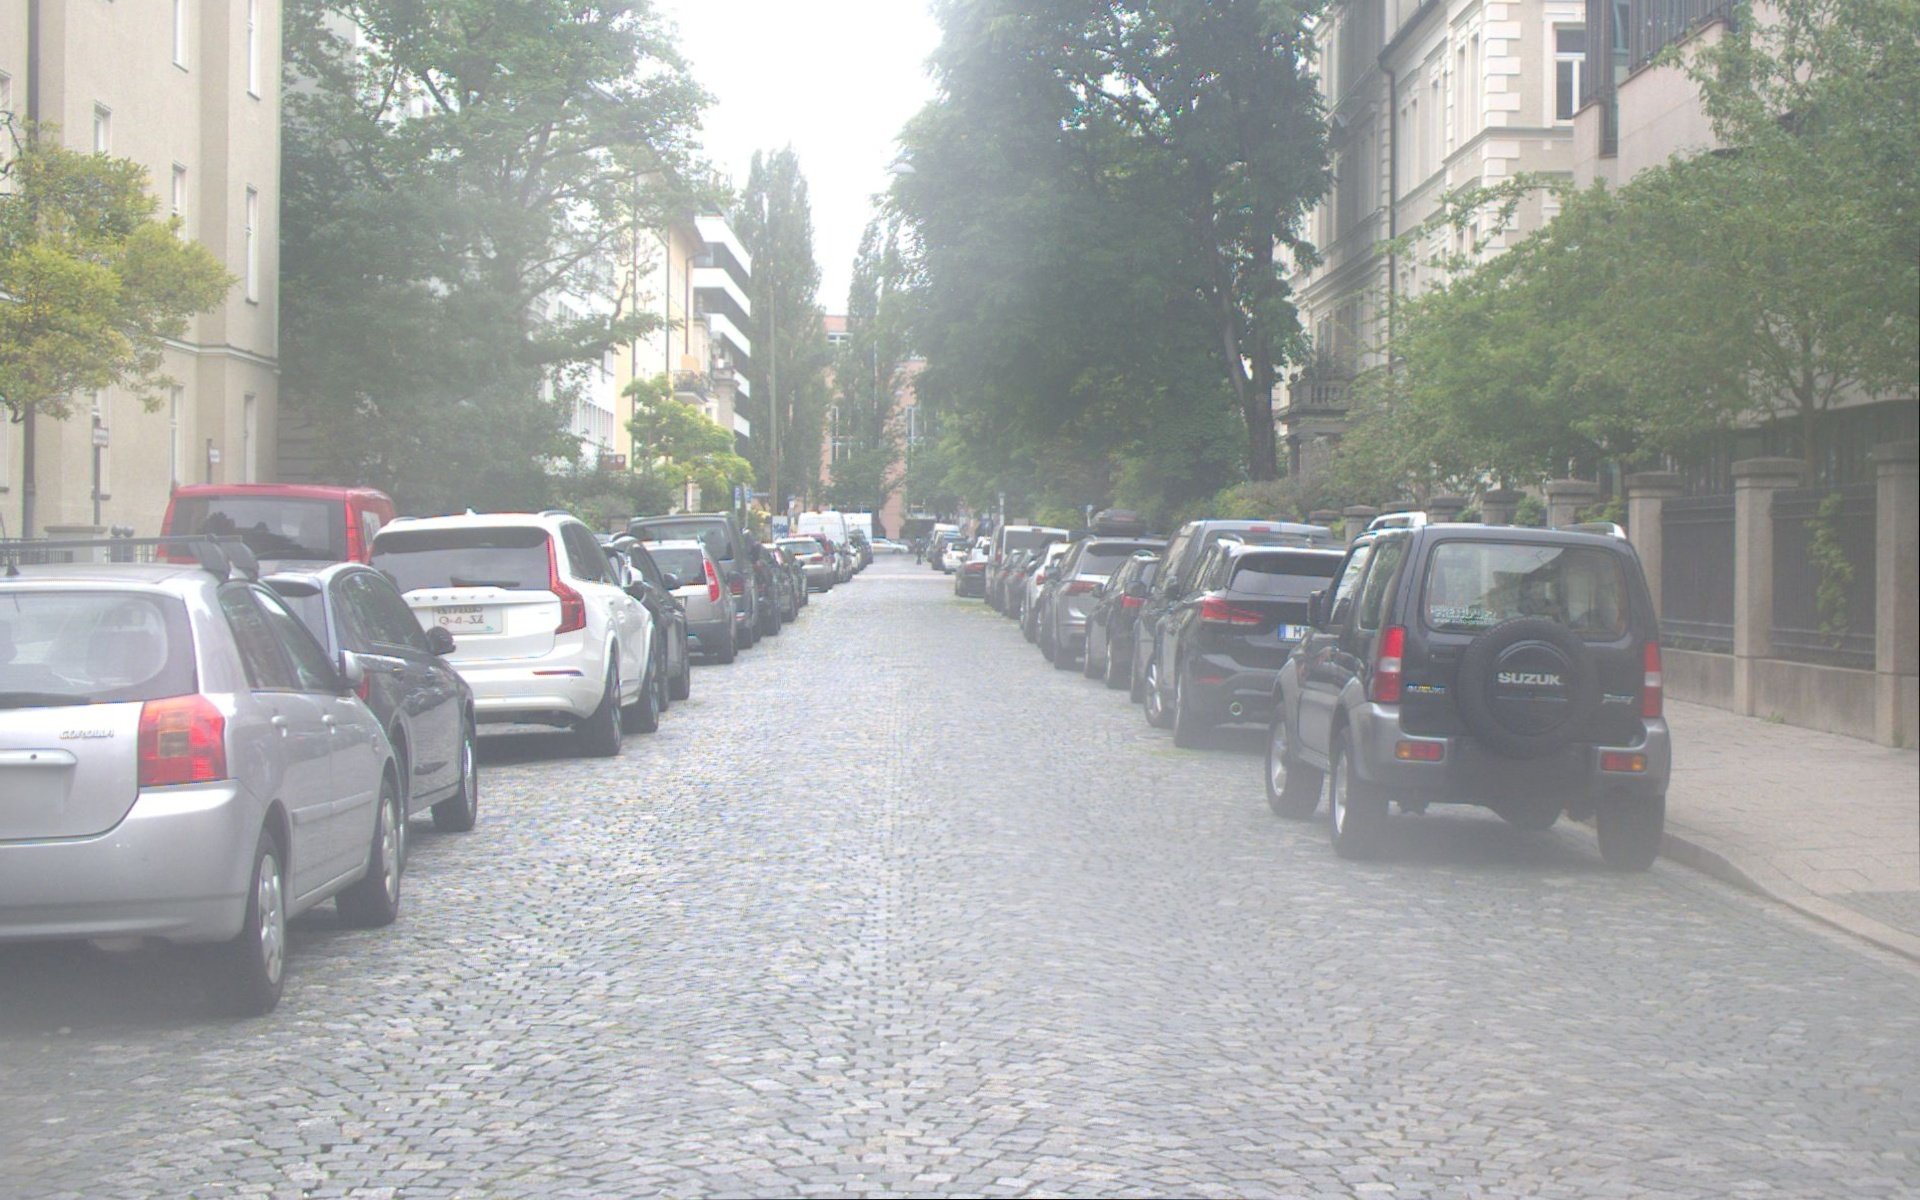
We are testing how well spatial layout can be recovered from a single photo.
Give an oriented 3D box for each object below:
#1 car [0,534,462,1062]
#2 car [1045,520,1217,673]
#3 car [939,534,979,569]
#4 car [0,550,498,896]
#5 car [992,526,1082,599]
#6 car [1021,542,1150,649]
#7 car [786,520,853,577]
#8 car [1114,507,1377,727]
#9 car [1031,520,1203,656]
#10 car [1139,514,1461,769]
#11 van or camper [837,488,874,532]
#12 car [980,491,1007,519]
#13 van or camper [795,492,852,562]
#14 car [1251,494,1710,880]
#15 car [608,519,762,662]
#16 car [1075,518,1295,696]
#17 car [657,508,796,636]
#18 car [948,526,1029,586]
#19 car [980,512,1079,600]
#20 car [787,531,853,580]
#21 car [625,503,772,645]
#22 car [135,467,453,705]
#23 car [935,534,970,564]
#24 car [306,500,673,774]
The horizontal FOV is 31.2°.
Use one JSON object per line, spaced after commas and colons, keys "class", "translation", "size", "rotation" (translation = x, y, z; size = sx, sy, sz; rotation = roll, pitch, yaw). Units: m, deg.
{"class": "car", "translation": [-2.962, 0.562, 12.464], "size": [1.713, 1.557, 4.391], "rotation": [-2, 1, -1]}
{"class": "car", "translation": [2.084, -0.086, 43.123], "size": [1.873, 1.729, 4.892], "rotation": [2, 1, 0]}
{"class": "car", "translation": [-0.064, -2.206, 155.331], "size": [1.790, 1.515, 4.000], "rotation": [0, 1, 0]}
{"class": "car", "translation": [-3.370, 0.501, 16.755], "size": [1.729, 1.414, 3.937], "rotation": [-2, 1, -1]}
{"class": "car", "translation": [1.674, -0.842, 76.018], "size": [1.837, 1.485, 4.422], "rotation": [3, 1, 0]}
{"class": "car", "translation": [1.938, -0.104, 54.132], "size": [1.873, 1.485, 4.617], "rotation": [3, 2, 1]}
{"class": "car", "translation": [-4.175, -1.544, 101.484], "size": [1.873, 1.574, 4.256], "rotation": [-2, 1, -3]}
{"class": "car", "translation": [2.584, 0.107, 32.156], "size": [1.788, 1.790, 4.510], "rotation": [4, 1, -2]}
{"class": "car", "translation": [2.174, -0.212, 48.997], "size": [1.873, 1.729, 4.748], "rotation": [4, 1, -3]}
{"class": "car", "translation": [2.529, 0.248, 26.715], "size": [1.860, 1.696, 4.813], "rotation": [3, 1, -1]}
{"class": "van or camper", "translation": [-6.637, -5.704, 218.918], "size": [2.256, 2.733, 5.098], "rotation": [1, 1, -1]}
{"class": "car", "translation": [2.499, -7.146, 258.460], "size": [1.993, 2.007, 4.000], "rotation": [1, 1, 0]}
{"class": "van or camper", "translation": [-5.331, -2.847, 134.383], "size": [1.993, 2.643, 4.000], "rotation": [-2, 1, 0]}
{"class": "car", "translation": [2.632, 0.373, 18.235], "size": [1.618, 1.745, 3.888], "rotation": [3, 1, -2]}
{"class": "car", "translation": [-3.583, -0.170, 45.369], "size": [1.865, 1.729, 4.404], "rotation": [-2, 1, -3]}
{"class": "car", "translation": [2.419, 0.028, 38.115], "size": [1.873, 1.729, 4.659], "rotation": [4, 1, -2]}
{"class": "car", "translation": [-3.810, -0.497, 56.842], "size": [1.993, 1.910, 5.178], "rotation": [-3, 1, -2]}
{"class": "car", "translation": [0.755, -1.211, 93.685], "size": [1.873, 1.498, 4.512], "rotation": [3, 1, -3]}
{"class": "car", "translation": [1.617, -1.063, 81.708], "size": [1.873, 1.921, 5.165], "rotation": [3, 1, -3]}
{"class": "car", "translation": [-4.850, -1.549, 119.436], "size": [1.873, 1.574, 4.208], "rotation": [2, 1, 2]}
{"class": "car", "translation": [-3.775, -0.413, 50.386], "size": [1.873, 1.910, 4.828], "rotation": [-2, 1, -2]}
{"class": "car", "translation": [-5.948, -0.169, 31.358], "size": [1.994, 1.924, 5.331], "rotation": [2, 1, -2]}
{"class": "car", "translation": [-0.380, -2.624, 176.043], "size": [1.790, 1.515, 4.000], "rotation": [0, 1, 0]}
{"class": "car", "translation": [-3.394, 0.204, 25.827], "size": [2.006, 1.802, 5.175], "rotation": [-1, 1, 0]}
